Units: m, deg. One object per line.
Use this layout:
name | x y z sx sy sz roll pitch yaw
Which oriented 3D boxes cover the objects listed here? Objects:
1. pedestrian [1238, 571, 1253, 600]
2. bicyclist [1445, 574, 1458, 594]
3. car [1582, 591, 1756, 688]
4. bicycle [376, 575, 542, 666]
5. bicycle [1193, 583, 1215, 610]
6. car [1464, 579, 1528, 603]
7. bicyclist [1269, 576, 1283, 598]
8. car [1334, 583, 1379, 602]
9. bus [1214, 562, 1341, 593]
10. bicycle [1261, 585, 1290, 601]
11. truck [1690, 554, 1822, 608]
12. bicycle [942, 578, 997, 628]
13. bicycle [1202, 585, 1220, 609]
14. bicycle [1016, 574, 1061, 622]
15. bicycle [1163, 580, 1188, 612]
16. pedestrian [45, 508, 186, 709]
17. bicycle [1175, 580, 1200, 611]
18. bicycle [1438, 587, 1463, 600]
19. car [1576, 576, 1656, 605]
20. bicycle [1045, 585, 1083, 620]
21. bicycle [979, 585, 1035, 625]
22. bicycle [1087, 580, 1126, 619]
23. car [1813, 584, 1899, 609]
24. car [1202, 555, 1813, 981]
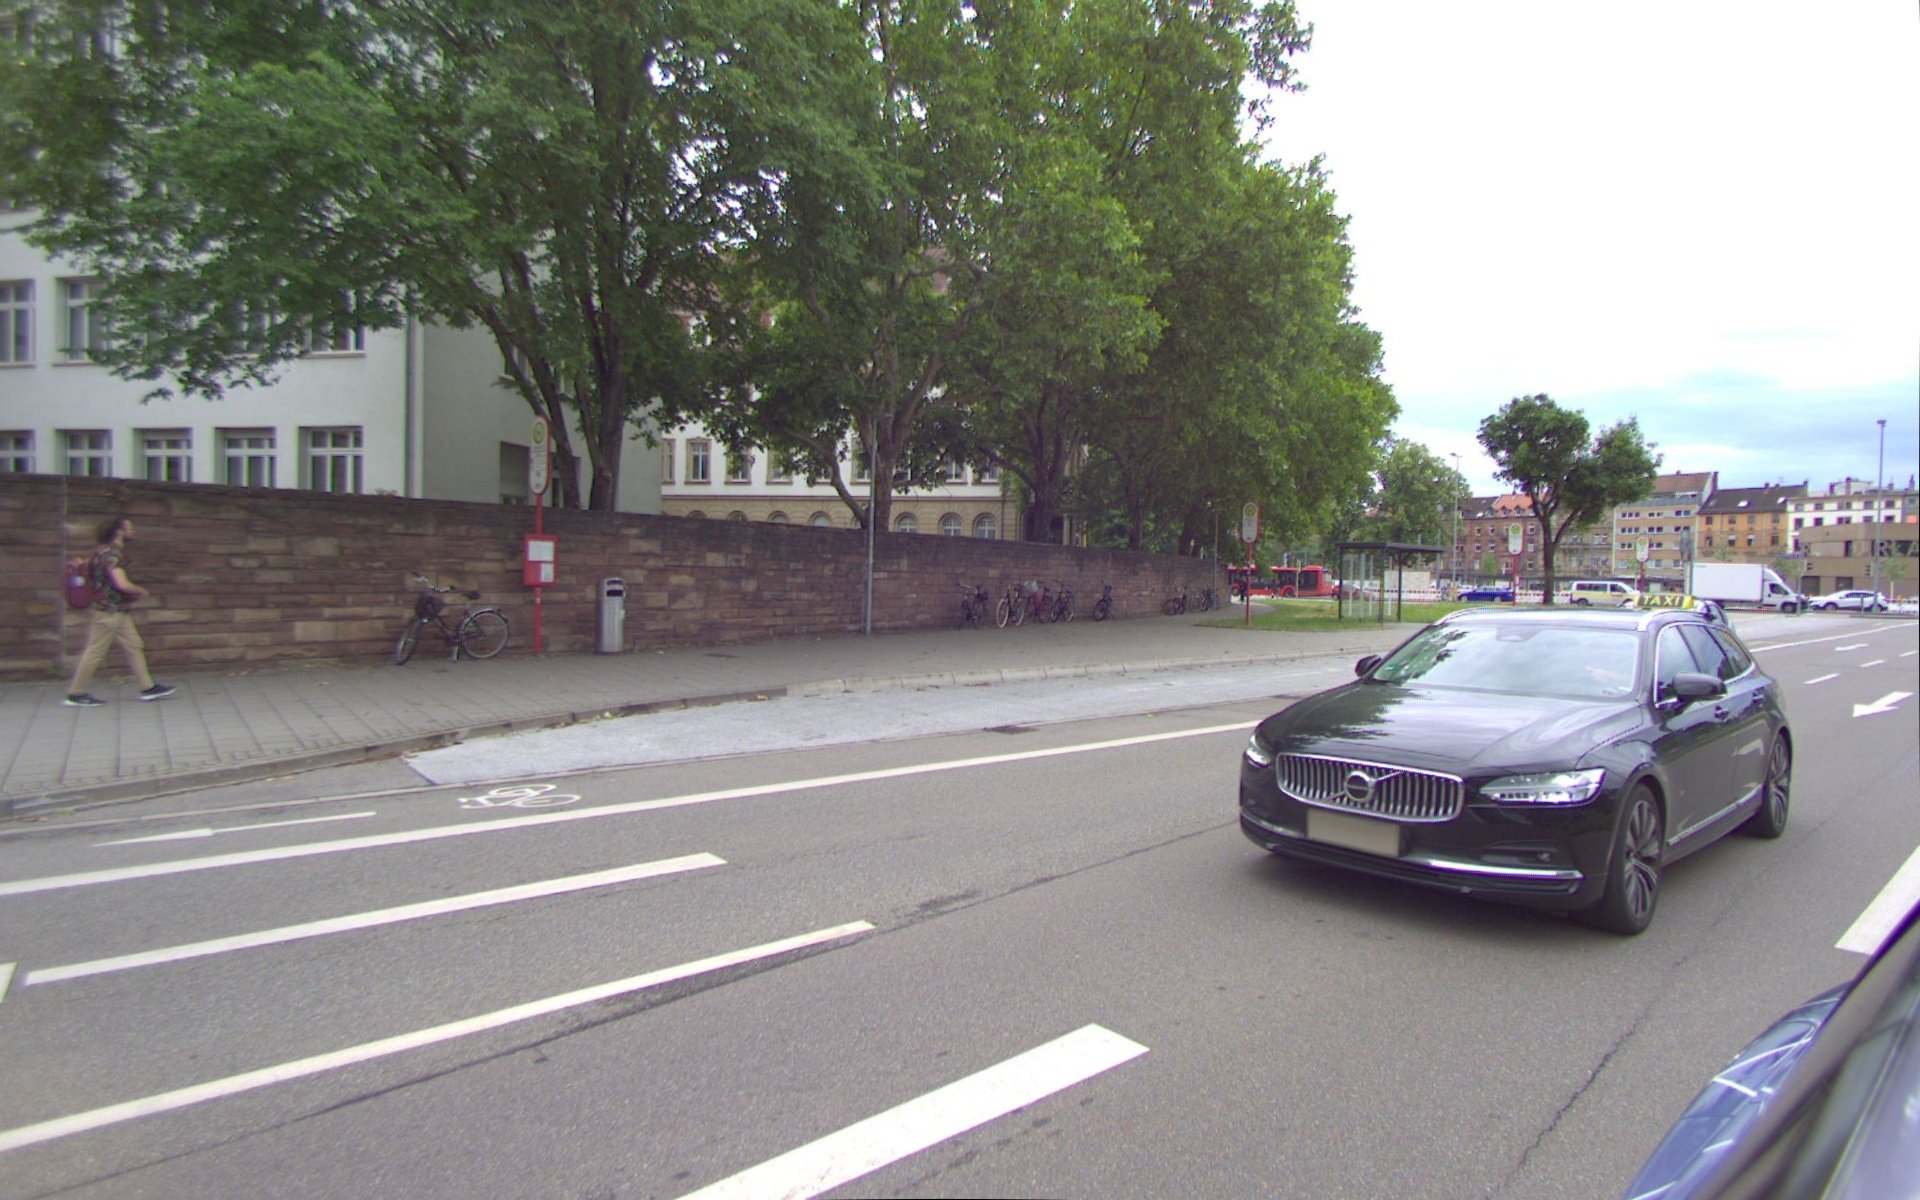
pedestrian | 17.620 -0.920 62.447 0.745 1.756 0.821 3 2 10
bicyclist | 39.323 -1.303 80.958 0.737 1.526 0.757 4 2 39
car | 12.356 0.606 17.573 3.596 1.484 1.669 0 1 -41
bicycle | -6.946 0.243 14.118 0.845 1.141 1.900 4 3 34
bicycle | 10.328 -0.175 42.772 0.589 1.072 1.700 3 2 23
car | 45.141 -0.758 85.309 4.420 1.767 1.736 5 3 45
bicyclist | 28.804 -1.189 92.166 0.893 1.883 0.753 4 3 43
car | 34.837 -0.669 88.998 3.422 1.399 1.266 2 -6 44
bus | 31.282 -2.250 100.404 2.889 2.944 12.067 0 1 -44
bicycle | 28.754 -0.671 92.204 2.384 1.340 0.753 4 3 44
truck | 54.059 -1.335 68.894 6.835 3.453 2.520 1 3 45
bicycle | 0.240 0.044 24.082 0.712 1.113 1.781 3 2 20
bicycle | 11.014 -0.153 44.342 0.544 1.004 1.626 3 2 20
bicycle | 2.129 -0.069 27.298 0.497 1.236 1.609 3 2 31
bicycle | 8.134 -0.157 38.146 0.589 1.150 1.700 3 2 23
pedestrian | -8.212 0.066 9.862 1.014 1.844 0.632 1 2 -41
bicycle | 8.928 -0.197 39.674 0.589 1.143 1.700 3 2 23
bicycle | 39.257 -0.553 80.999 1.687 0.926 0.757 4 3 39
car | 48.360 -0.705 74.670 1.889 1.942 4.704 -4 4 -44
bicycle | 2.954 0.052 28.671 0.414 0.954 1.508 3 2 31
bicycle | 1.207 0.112 25.745 0.650 0.963 1.750 3 2 31
bicycle | 4.437 -0.037 30.594 0.593 1.118 1.638 3 2 29
car | 61.990 -0.286 70.087 3.976 1.493 1.812 3 2 16
car | 3.494 0.615 6.030 4.371 1.620 1.886 0 1 -42
